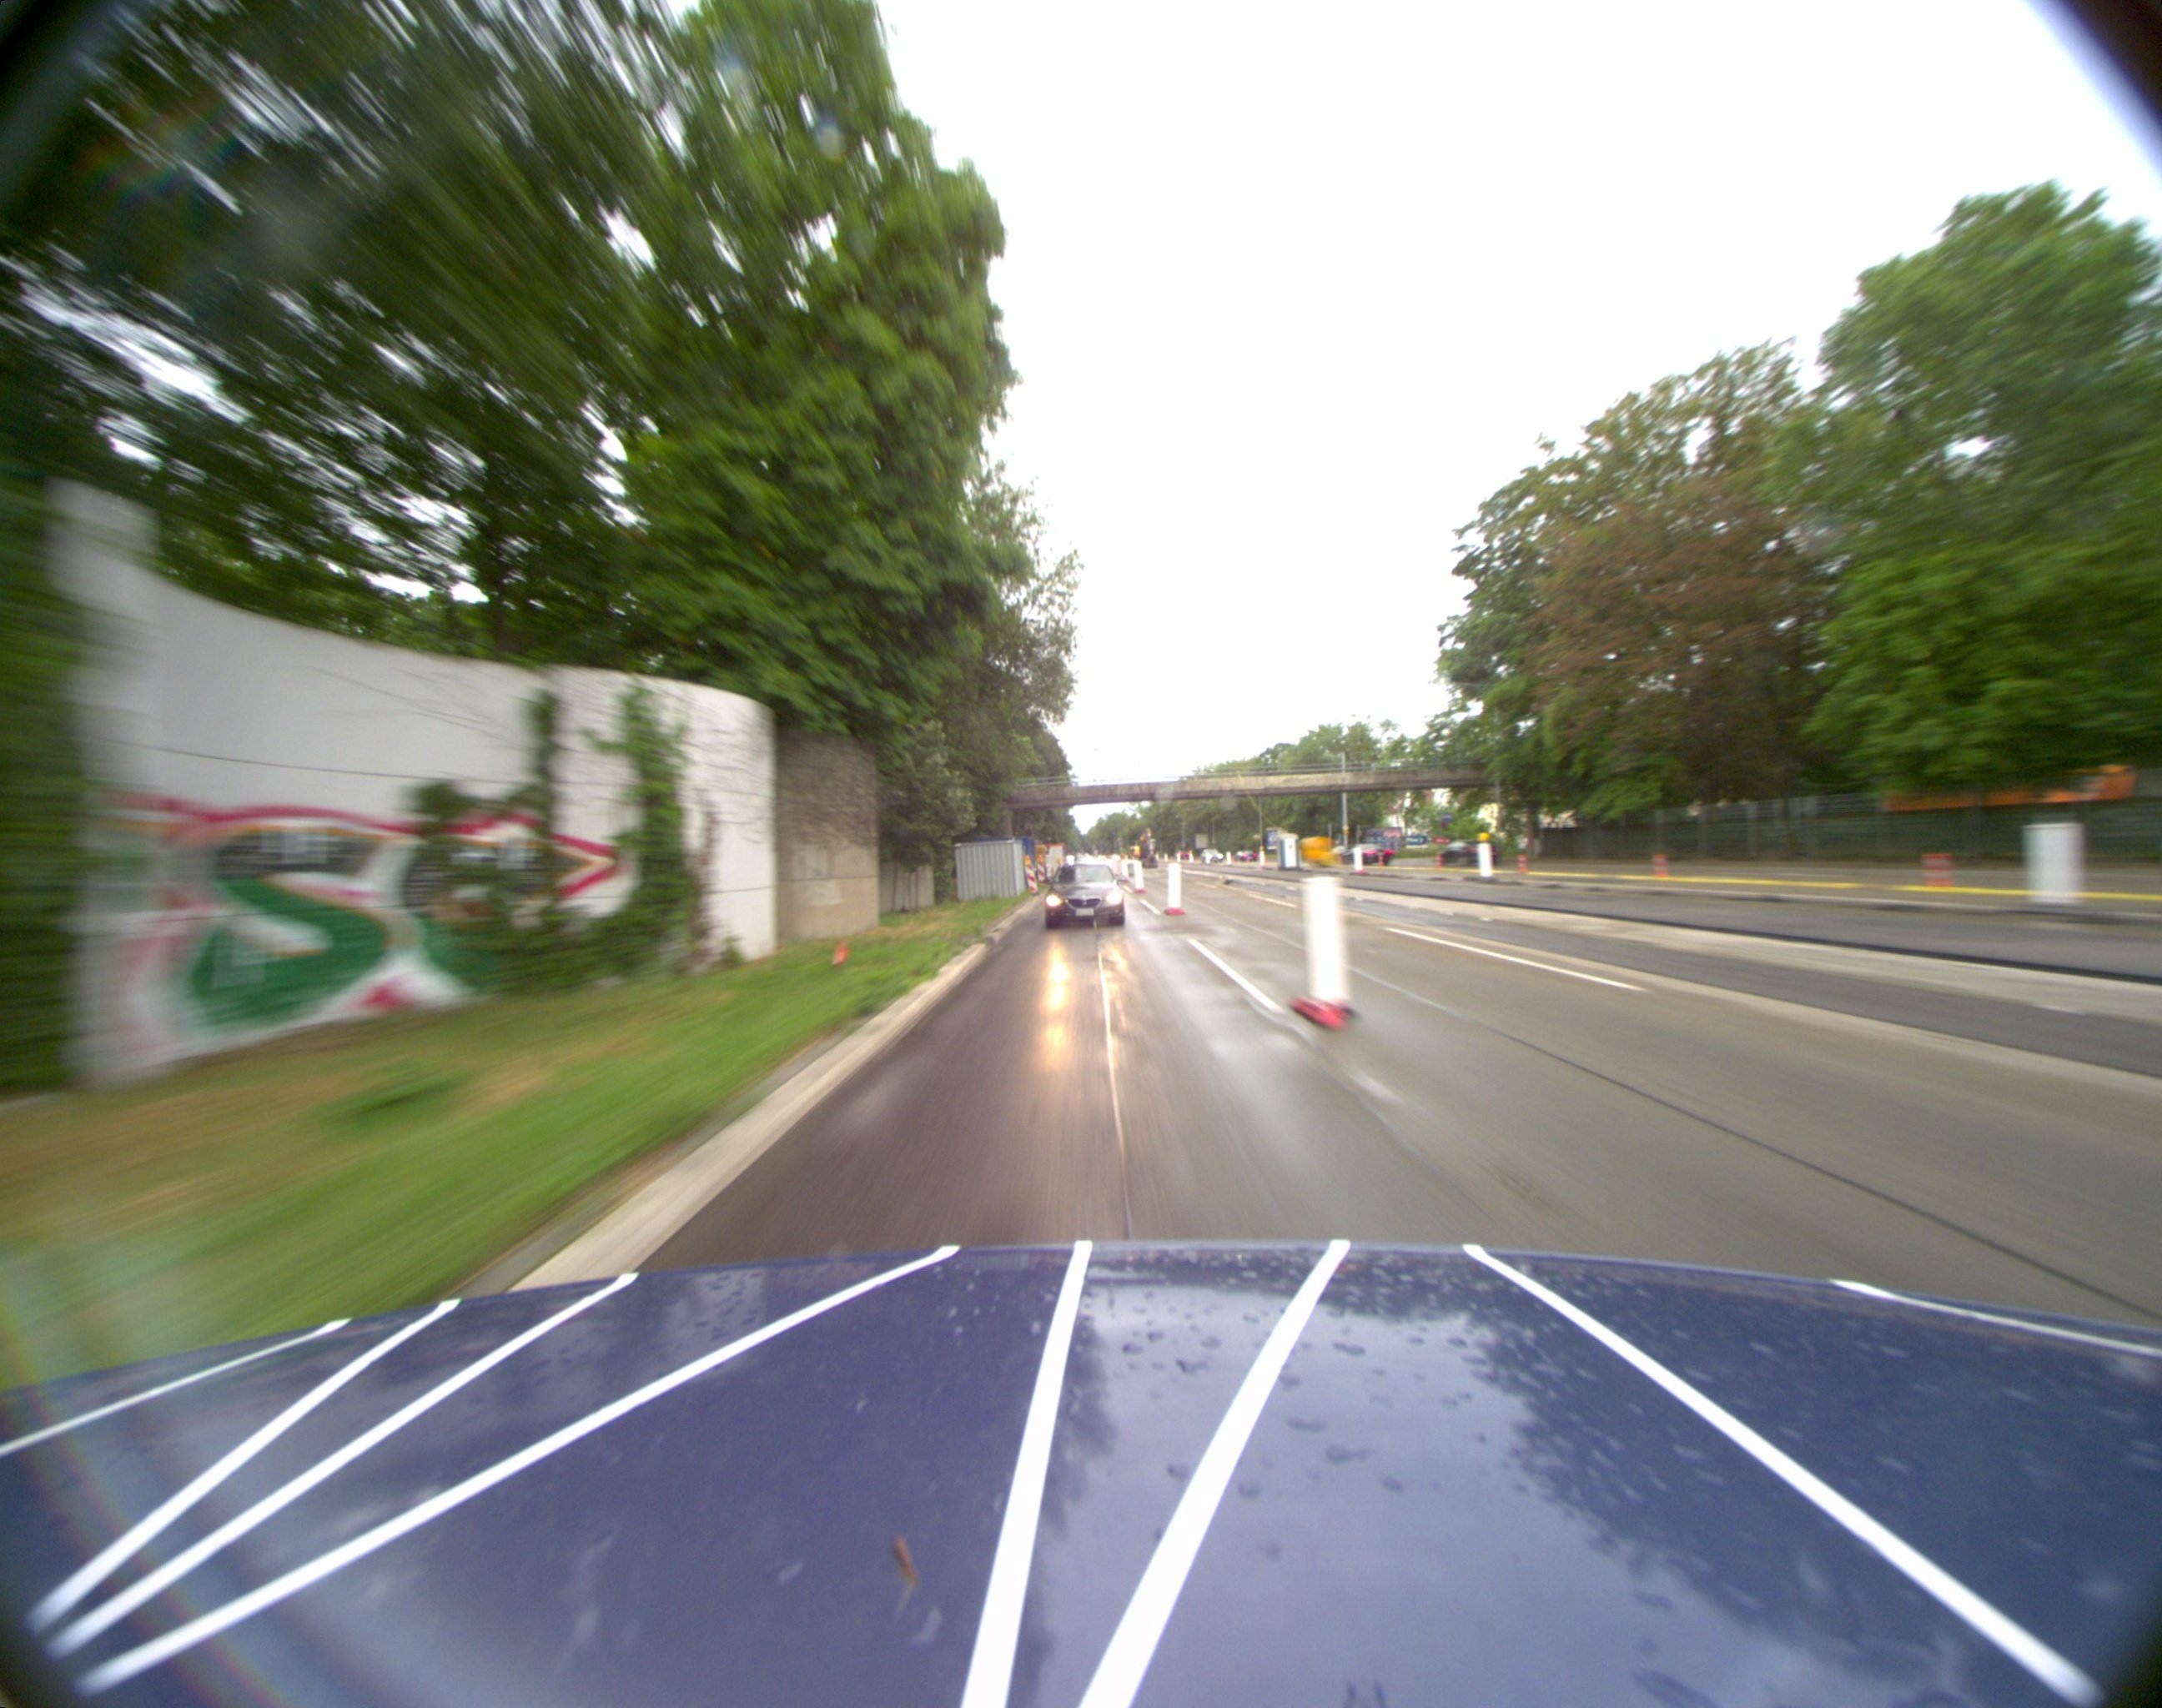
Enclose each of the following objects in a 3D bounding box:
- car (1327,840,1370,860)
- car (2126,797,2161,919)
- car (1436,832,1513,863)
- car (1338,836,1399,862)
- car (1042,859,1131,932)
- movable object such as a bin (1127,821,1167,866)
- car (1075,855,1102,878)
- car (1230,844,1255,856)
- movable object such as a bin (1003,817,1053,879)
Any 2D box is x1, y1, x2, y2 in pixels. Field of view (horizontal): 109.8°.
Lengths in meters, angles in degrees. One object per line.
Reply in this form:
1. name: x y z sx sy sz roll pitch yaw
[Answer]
1. car: 21.589 -0.327 61.393 1.998 1.340 4.565 -3 2 3
2. car: 15.240 0.020 7.793 2.082 1.604 5.055 -3 1 0
3. car: 21.722 -0.370 42.159 1.998 1.509 4.304 -3 1 1
4. car: 18.770 -0.309 49.851 2.083 1.504 5.089 -3 0 1
5. car: 0.085 0.910 18.339 1.838 1.397 3.999 -3 1 -1
6. movable object such as a bin: 7.214 -1.157 84.649 3.526 4.495 10.069 -3 1 1
7. car: 0.610 0.973 61.315 1.998 1.650 4.229 -3 1 1
8. car: 20.515 -0.508 96.711 1.999 1.451 4.883 -3 1 0
9. movable object such as a bin: -3.553 -0.400 52.765 2.890 3.917 6.104 -3 1 -1
